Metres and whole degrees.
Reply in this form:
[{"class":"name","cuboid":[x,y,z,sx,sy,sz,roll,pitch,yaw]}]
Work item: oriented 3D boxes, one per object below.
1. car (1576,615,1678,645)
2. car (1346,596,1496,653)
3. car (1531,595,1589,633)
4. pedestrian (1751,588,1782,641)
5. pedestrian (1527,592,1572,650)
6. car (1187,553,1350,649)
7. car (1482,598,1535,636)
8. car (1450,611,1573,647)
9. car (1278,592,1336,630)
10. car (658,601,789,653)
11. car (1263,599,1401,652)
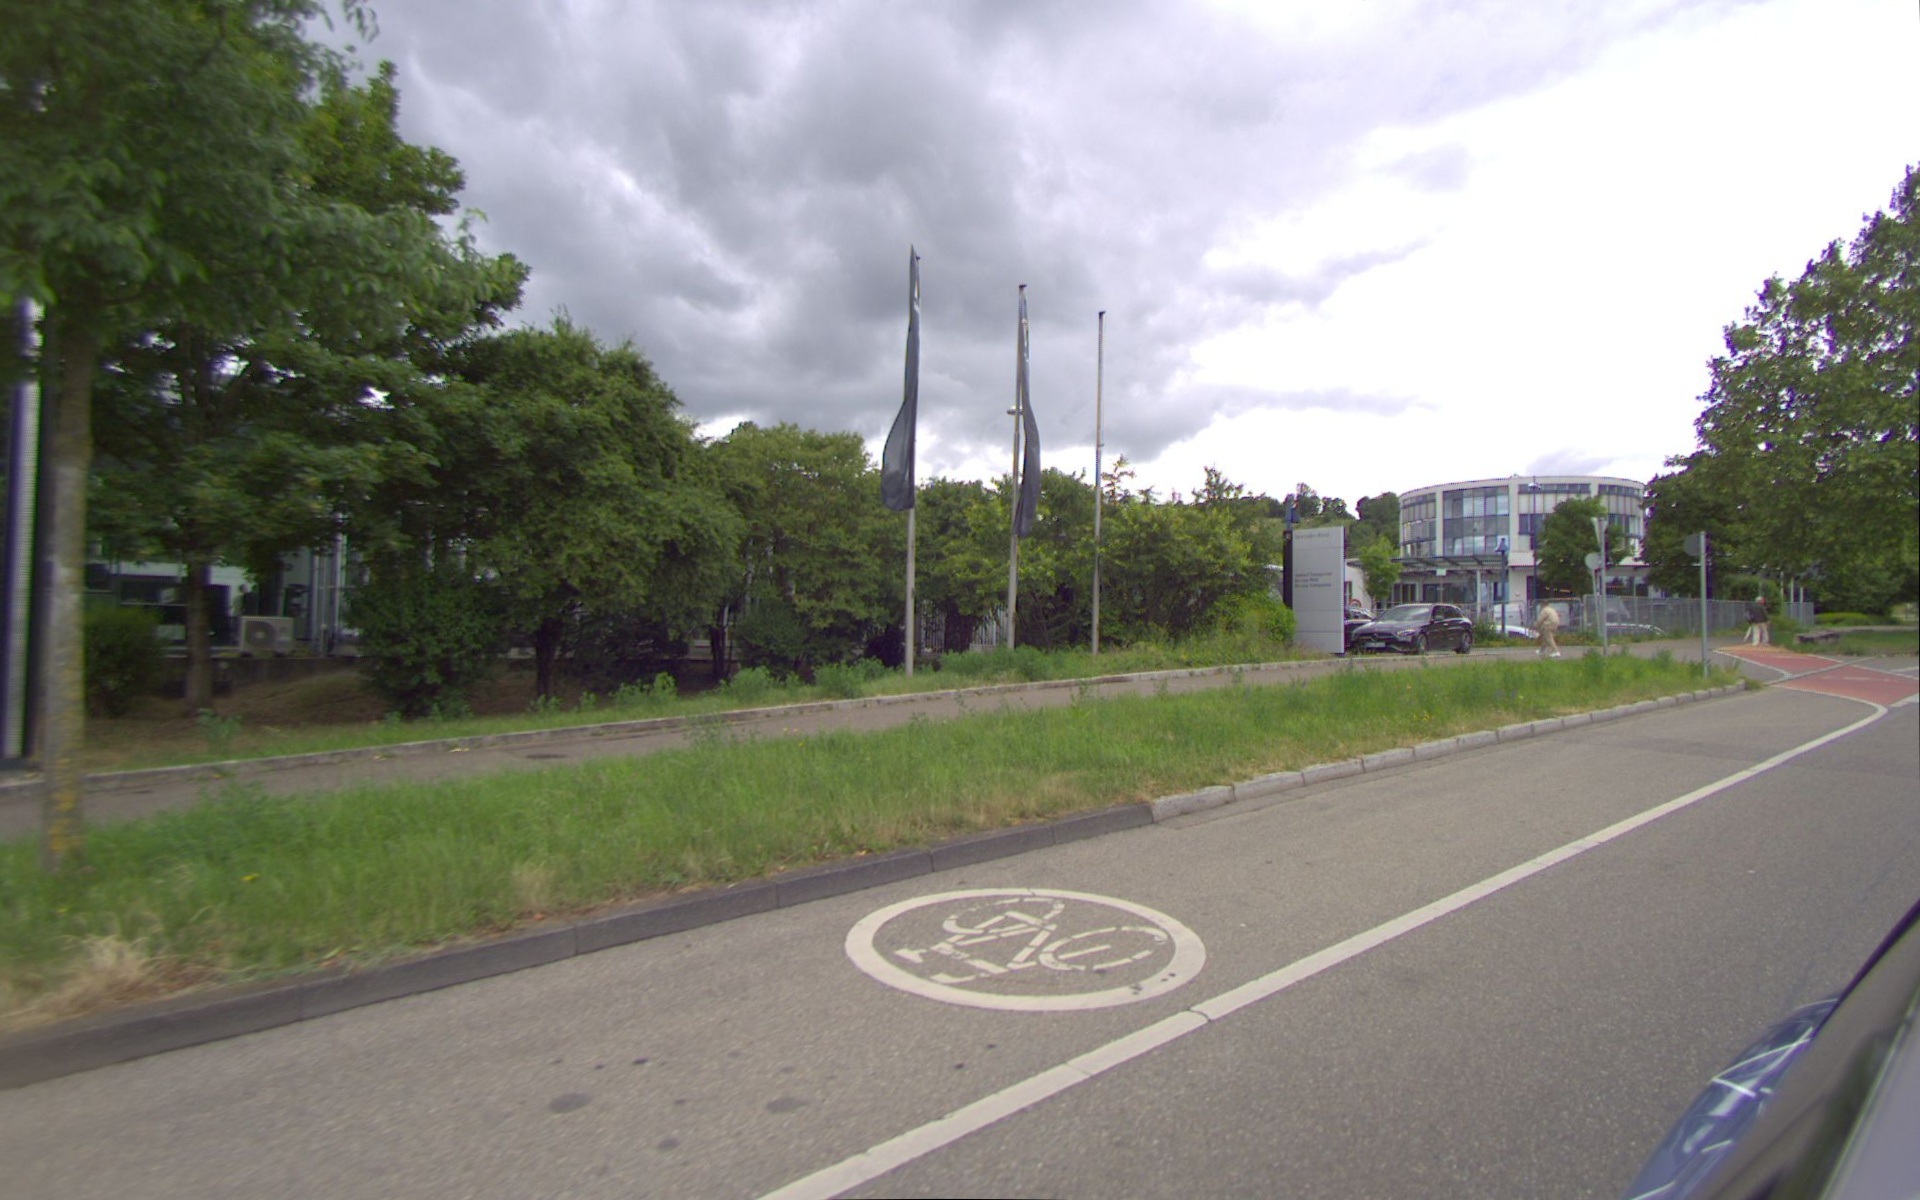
[{"class":"car","cuboid":[35.507,1.630,53.917,1.787,1.467,4.181,2,-4,-42]},{"class":"car","cuboid":[12.756,0.656,27.832,4.893,1.435,1.849,0,-2,-41]},{"class":"car","cuboid":[37.725,0.895,63.713,2.087,2.304,4.459,0,-1,16]},{"class":"pedestrian","cuboid":[27.246,0.493,34.197,0.494,1.748,0.732,-1,1,-44]},{"class":"pedestrian","cuboid":[16.446,0.572,28.256,0.800,1.586,0.940,0,1,13]},{"class":"car","cuboid":[10.267,0.156,33.300,6.609,2.855,1.995,2,-5,-43]},{"class":"car","cuboid":[35.445,1.096,65.495,2.087,2.304,4.459,0,-1,16]},{"class":"car","cuboid":[22.977,1.239,42.289,1.963,1.335,3.995,1,-5,-37]},{"class":"car","cuboid":[26.634,0.871,77.596,4.401,2.791,2.219,1,-1,-39]},{"class":"car","cuboid":[-6.321,0.733,27.161,3.025,1.313,1.596,2,-2,-43]},{"class":"car","cuboid":[11.143,0.775,30.193,4.534,1.435,1.849,1,-4,-41]}]
